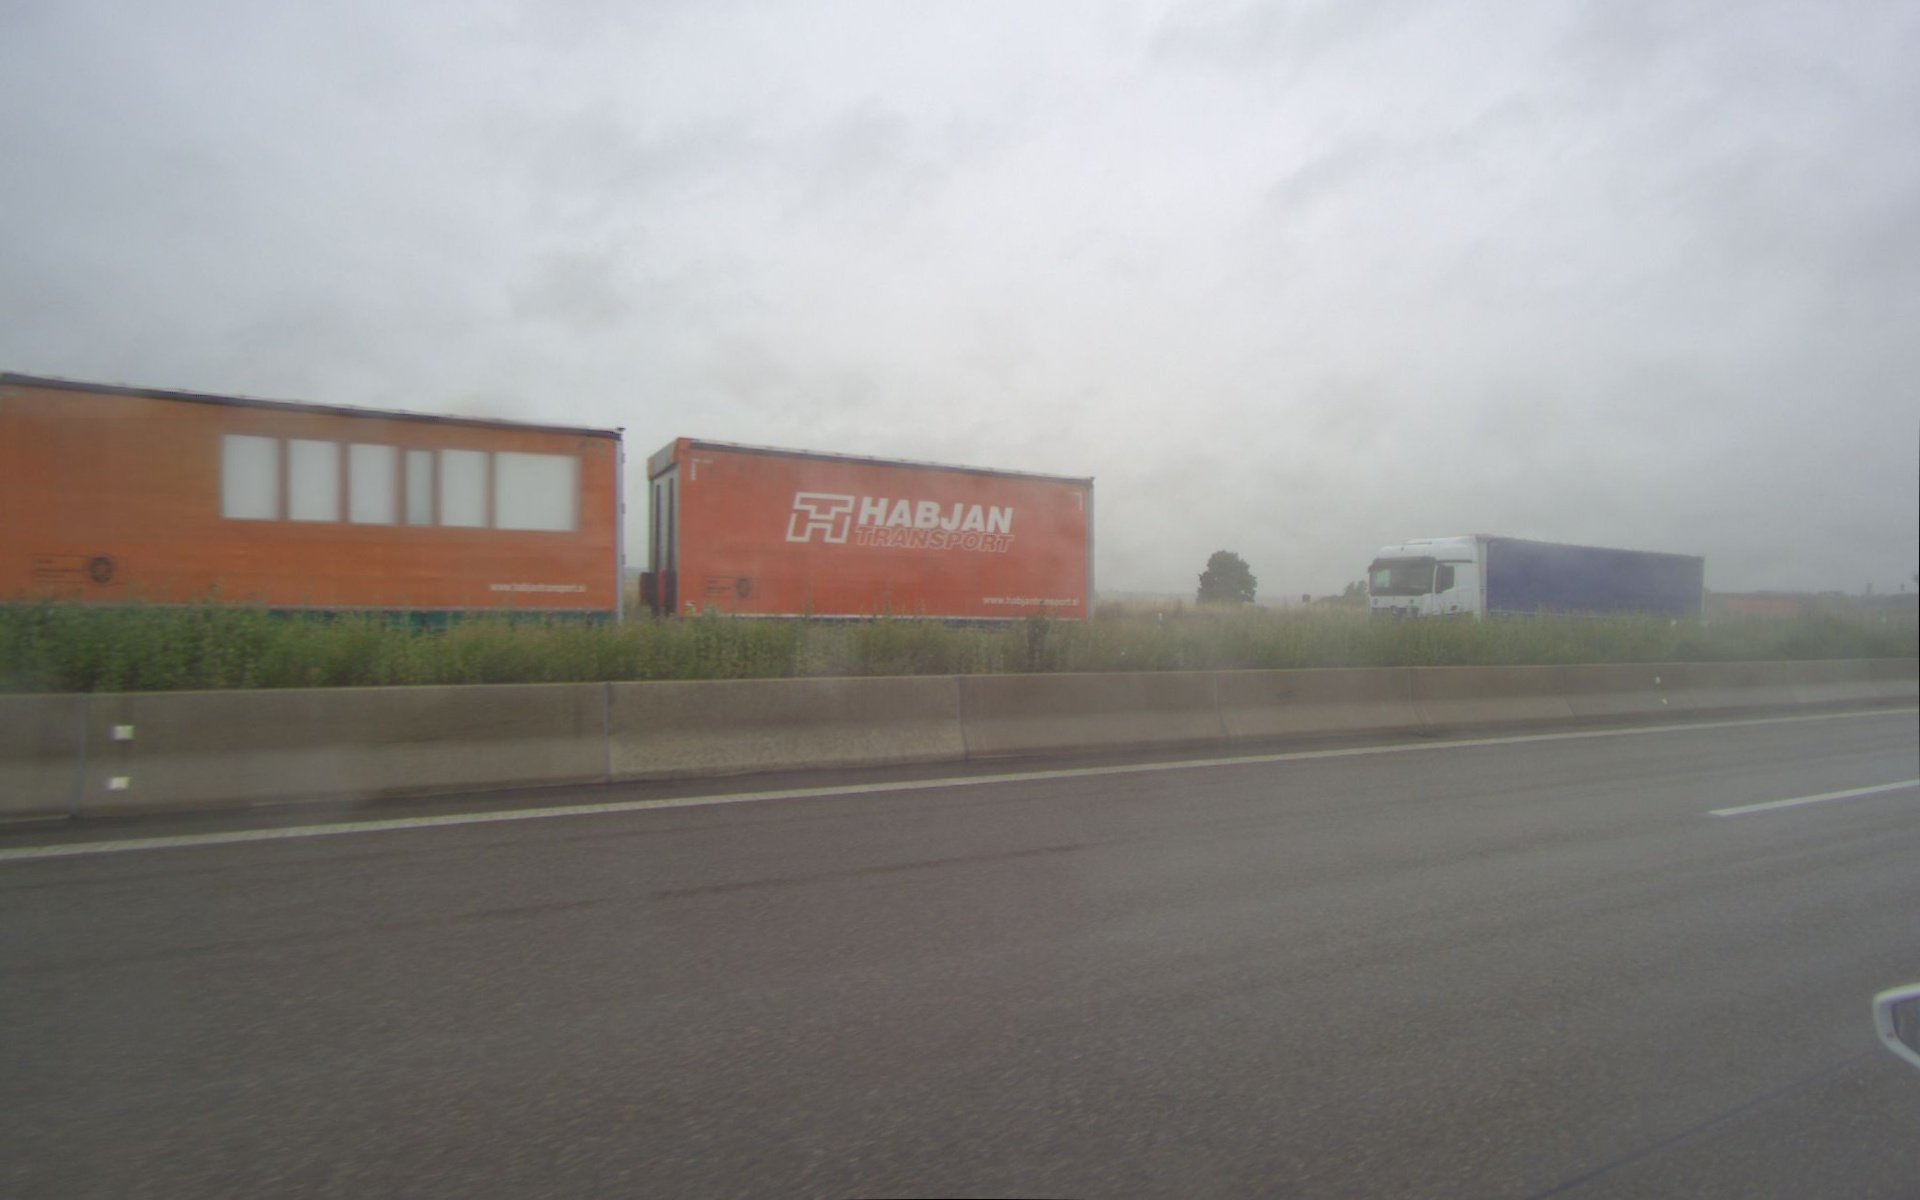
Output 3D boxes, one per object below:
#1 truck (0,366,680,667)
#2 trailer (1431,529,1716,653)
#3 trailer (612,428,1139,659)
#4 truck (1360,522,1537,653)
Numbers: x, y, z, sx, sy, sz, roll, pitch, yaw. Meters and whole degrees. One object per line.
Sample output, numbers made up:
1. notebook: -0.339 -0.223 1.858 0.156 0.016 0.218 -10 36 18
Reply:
1. truck: -9.446 -0.902 14.405 10.003 3.487 3.253 1 -1 -28
2. trailer: 22.603 -0.156 36.539 13.322 3.991 2.426 1 -1 -28
3. trailer: -1.387 -0.742 18.802 9.323 3.502 3.245 1 -1 -28
4. truck: 16.083 -0.320 33.029 5.539 3.978 2.476 1 -1 -28
